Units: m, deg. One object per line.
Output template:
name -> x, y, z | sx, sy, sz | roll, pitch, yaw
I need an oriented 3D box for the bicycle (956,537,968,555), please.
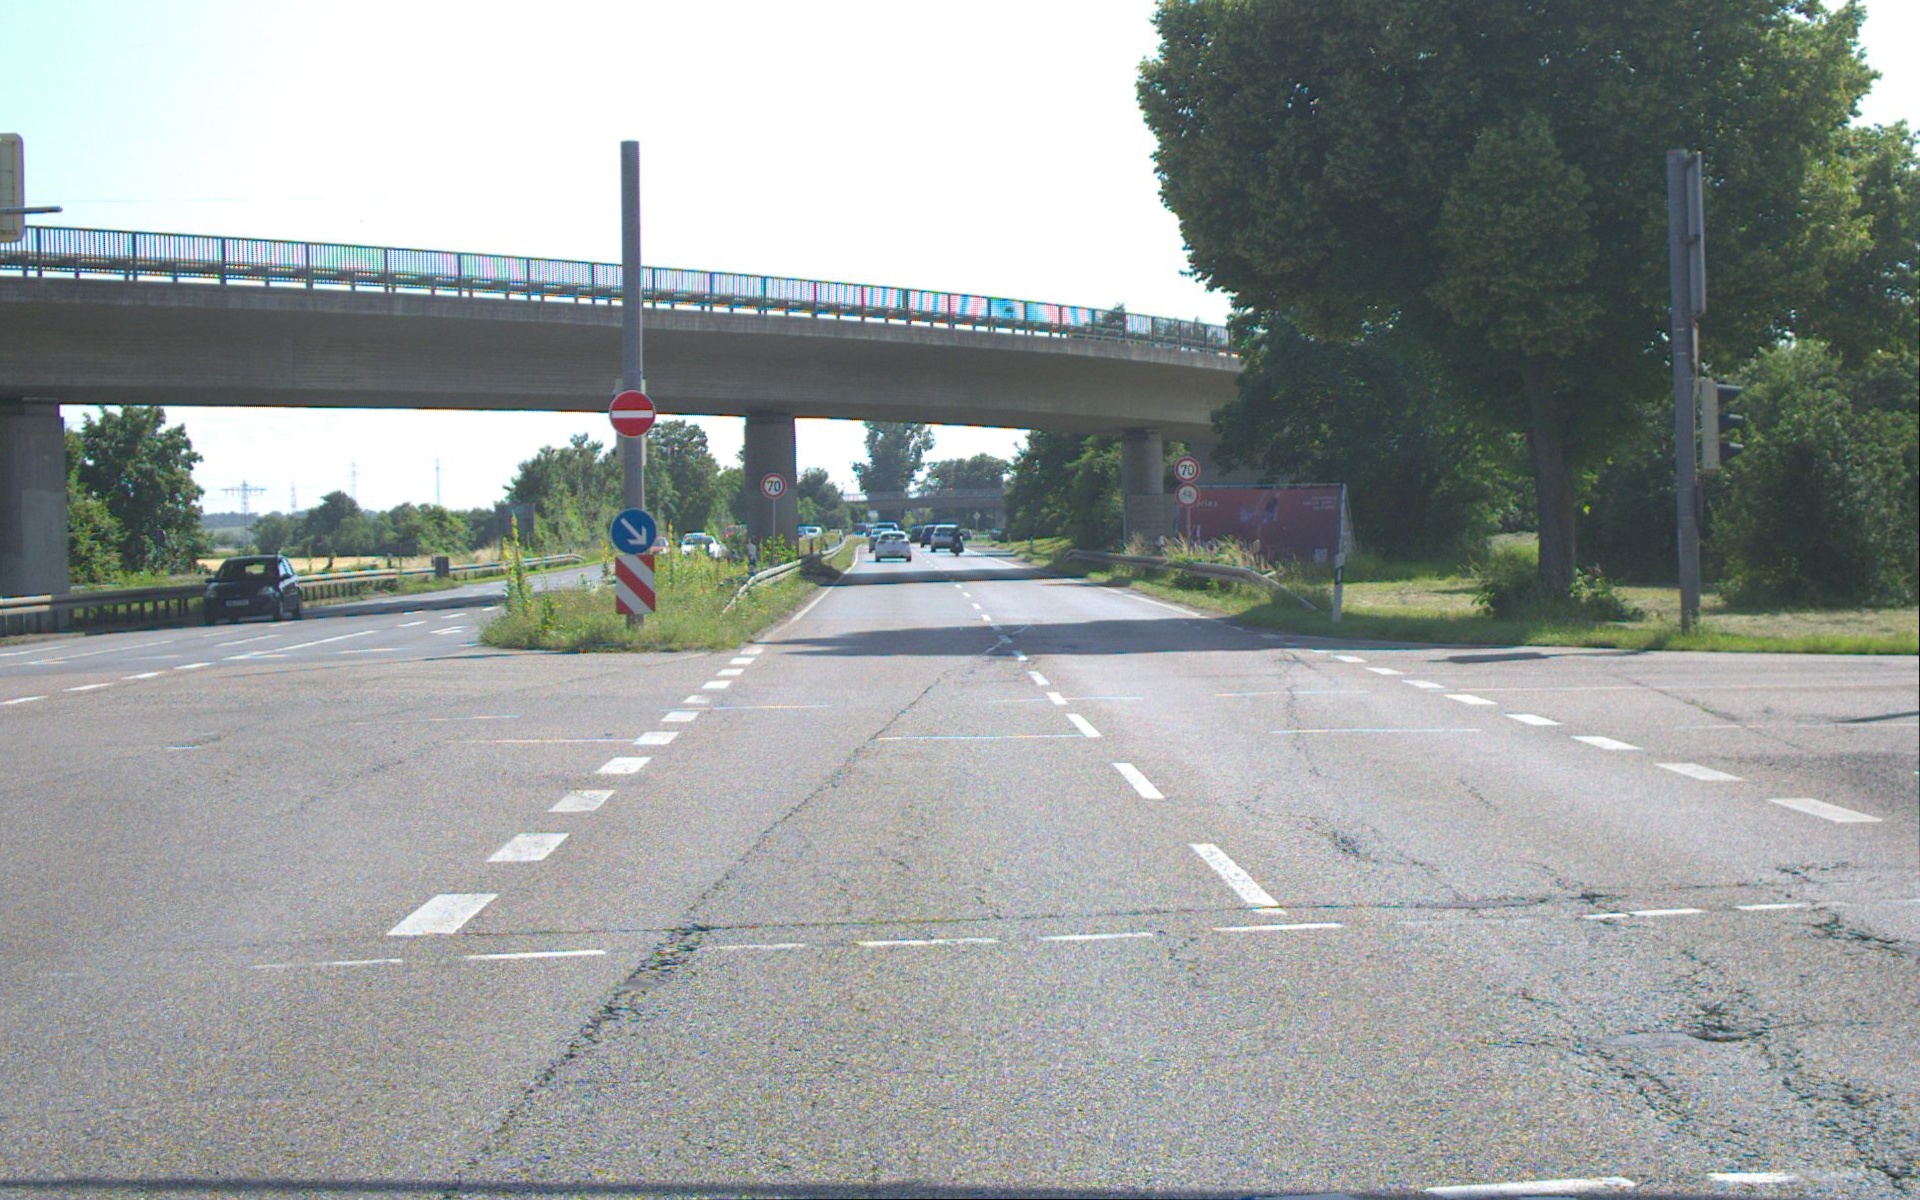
bicycle -> 0.130, -2.937, 187.427 | 0.600, 0.980, 2.361 | -2, 1, 0

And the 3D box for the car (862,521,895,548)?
car -> -4.904, -3.965, 208.024 | 1.873, 1.634, 4.000 | 0, 1, 1

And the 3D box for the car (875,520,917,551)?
car -> -3.043, -3.069, 164.257 | 1.851, 1.456, 4.000 | 0, 1, 1

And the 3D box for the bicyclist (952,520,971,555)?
bicyclist -> 0.081, -3.394, 187.812 | 1.007, 1.880, 1.327 | -2, 1, 0

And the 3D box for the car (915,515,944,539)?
car -> -2.145, -5.155, 244.205 | 1.993, 1.626, 4.000 | 1, 0, -1

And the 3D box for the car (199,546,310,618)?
car -> -15.564, -0.426, 76.004 | 1.614, 1.437, 3.776 | -4, 1, -1

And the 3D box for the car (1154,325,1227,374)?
car -> 7.880, -8.535, 117.291 | 1.321, 1.481, 3.193 | -1, 1, 27

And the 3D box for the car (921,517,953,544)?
car -> -1.424, -4.285, 211.669 | 1.873, 1.634, 4.000 | -1, 1, 1
